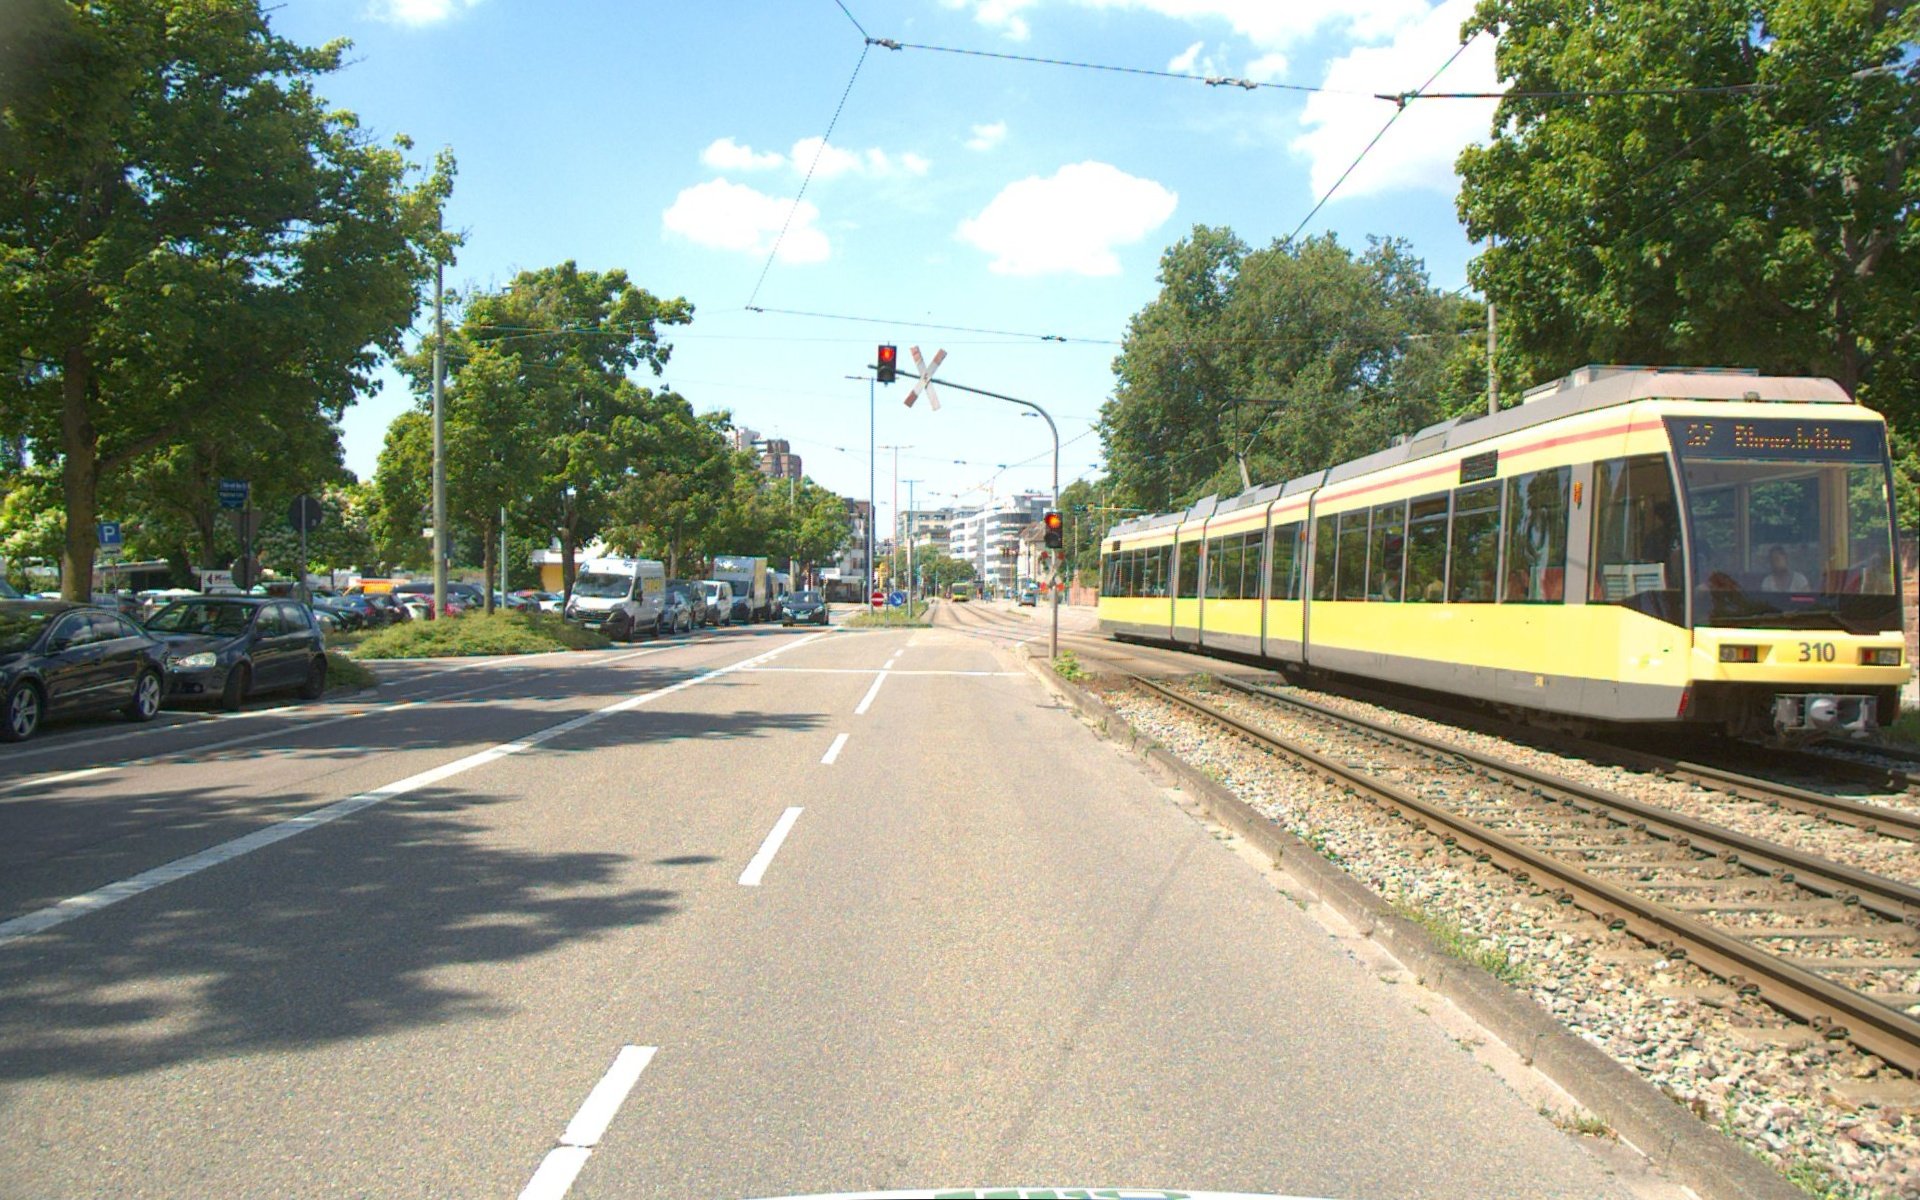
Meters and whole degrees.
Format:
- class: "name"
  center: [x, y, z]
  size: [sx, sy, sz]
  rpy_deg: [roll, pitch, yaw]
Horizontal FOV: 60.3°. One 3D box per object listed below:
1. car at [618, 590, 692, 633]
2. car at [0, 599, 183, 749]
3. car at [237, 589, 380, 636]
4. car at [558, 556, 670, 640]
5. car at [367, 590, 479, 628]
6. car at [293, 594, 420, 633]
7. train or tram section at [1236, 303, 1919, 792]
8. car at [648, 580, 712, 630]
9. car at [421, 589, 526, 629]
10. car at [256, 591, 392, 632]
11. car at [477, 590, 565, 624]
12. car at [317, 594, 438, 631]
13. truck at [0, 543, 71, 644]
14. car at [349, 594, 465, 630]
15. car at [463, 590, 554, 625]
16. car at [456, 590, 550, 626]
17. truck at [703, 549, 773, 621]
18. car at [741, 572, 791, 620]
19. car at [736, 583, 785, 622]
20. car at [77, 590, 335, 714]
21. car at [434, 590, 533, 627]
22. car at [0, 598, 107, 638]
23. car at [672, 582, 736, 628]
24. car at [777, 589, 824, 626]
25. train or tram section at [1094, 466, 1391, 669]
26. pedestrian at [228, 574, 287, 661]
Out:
- class: "car"
  center: [-10.891, 0.373, 59.271]
  size: [1.830, 1.462, 4.342]
  rpy_deg: [0, 0, 0]
- class: "car"
  center: [-10.438, 0.736, 18.129]
  size: [1.739, 1.397, 4.695]
  rpy_deg: [2, 0, -2]
- class: "car"
  center: [-21.038, 0.390, 53.553]
  size: [3.906, 1.467, 1.805]
  rpy_deg: [0, 0, -2]
- class: "car"
  center: [-10.964, -0.088, 52.949]
  size: [2.112, 2.530, 6.194]
  rpy_deg: [0, 0, 2]
- class: "car"
  center: [-21.587, 0.356, 66.619]
  size: [3.906, 1.467, 1.805]
  rpy_deg: [0, 0, -2]
- class: "car"
  center: [-21.644, 0.463, 59.424]
  size: [3.906, 1.362, 1.805]
  rpy_deg: [0, 0, -2]
- class: "train or tram section"
  center: [6.789, -0.493, 22.036]
  size: [2.883, 3.756, 18.387]
  rpy_deg: [1, 1, -1]
- class: "car"
  center: [-11.193, 0.178, 66.445]
  size: [1.830, 1.928, 4.271]
  rpy_deg: [0, 0, 0]
- class: "car"
  center: [-20.583, 0.366, 70.075]
  size: [3.906, 1.634, 1.805]
  rpy_deg: [0, 0, -2]
- class: "car"
  center: [-21.477, 0.372, 55.965]
  size: [3.906, 1.362, 1.805]
  rpy_deg: [0, 0, -2]
- class: "car"
  center: [-21.822, 0.329, 82.263]
  size: [3.906, 1.634, 1.805]
  rpy_deg: [0, 0, -2]
- class: "car"
  center: [-21.827, 0.452, 62.059]
  size: [3.906, 1.362, 1.805]
  rpy_deg: [0, 0, -2]
- class: "truck"
  center: [-33.490, -0.212, 54.467]
  size: [7.043, 3.284, 2.331]
  rpy_deg: [0, 0, -3]
- class: "car"
  center: [-21.572, 0.476, 64.624]
  size: [3.906, 1.362, 1.805]
  rpy_deg: [0, 0, -2]
- class: "car"
  center: [-21.789, 0.357, 79.870]
  size: [3.906, 1.634, 1.805]
  rpy_deg: [0, 0, -2]
- class: "car"
  center: [-21.404, 0.359, 77.595]
  size: [3.906, 1.634, 1.805]
  rpy_deg: [0, 0, -2]
- class: "truck"
  center: [-10.831, -0.736, 81.089]
  size: [2.112, 3.266, 7.084]
  rpy_deg: [3, 1, 2]
- class: "car"
  center: [-11.218, -0.237, 96.050]
  size: [2.112, 2.685, 5.613]
  rpy_deg: [0, 0, 2]
- class: "car"
  center: [-10.547, 0.128, 87.809]
  size: [2.019, 2.011, 4.871]
  rpy_deg: [0, 0, 0]
- class: "car"
  center: [-10.347, 0.651, 23.054]
  size: [1.738, 1.506, 4.047]
  rpy_deg: [2, 0, -1]
- class: "car"
  center: [-21.360, 0.356, 74.259]
  size: [3.906, 1.634, 1.805]
  rpy_deg: [0, 0, -2]
- class: "car"
  center: [-34.460, 0.658, 62.073]
  size: [3.906, 1.467, 1.805]
  rpy_deg: [0, 0, -2]
- class: "car"
  center: [-11.152, 0.175, 72.292]
  size: [2.019, 1.931, 4.871]
  rpy_deg: [0, 0, 0]
- class: "car"
  center: [-6.607, 0.307, 68.860]
  size: [1.644, 1.422, 4.004]
  rpy_deg: [-2, 0, -2]
- class: "train or tram section"
  center: [6.144, -0.725, 41.263]
  size: [2.885, 3.756, 20.272]
  rpy_deg: [1, 1, -3]
- class: "pedestrian"
  center: [-15.248, 0.374, 35.910]
  size: [0.955, 1.855, 0.794]
  rpy_deg: [0, 0, -4]
